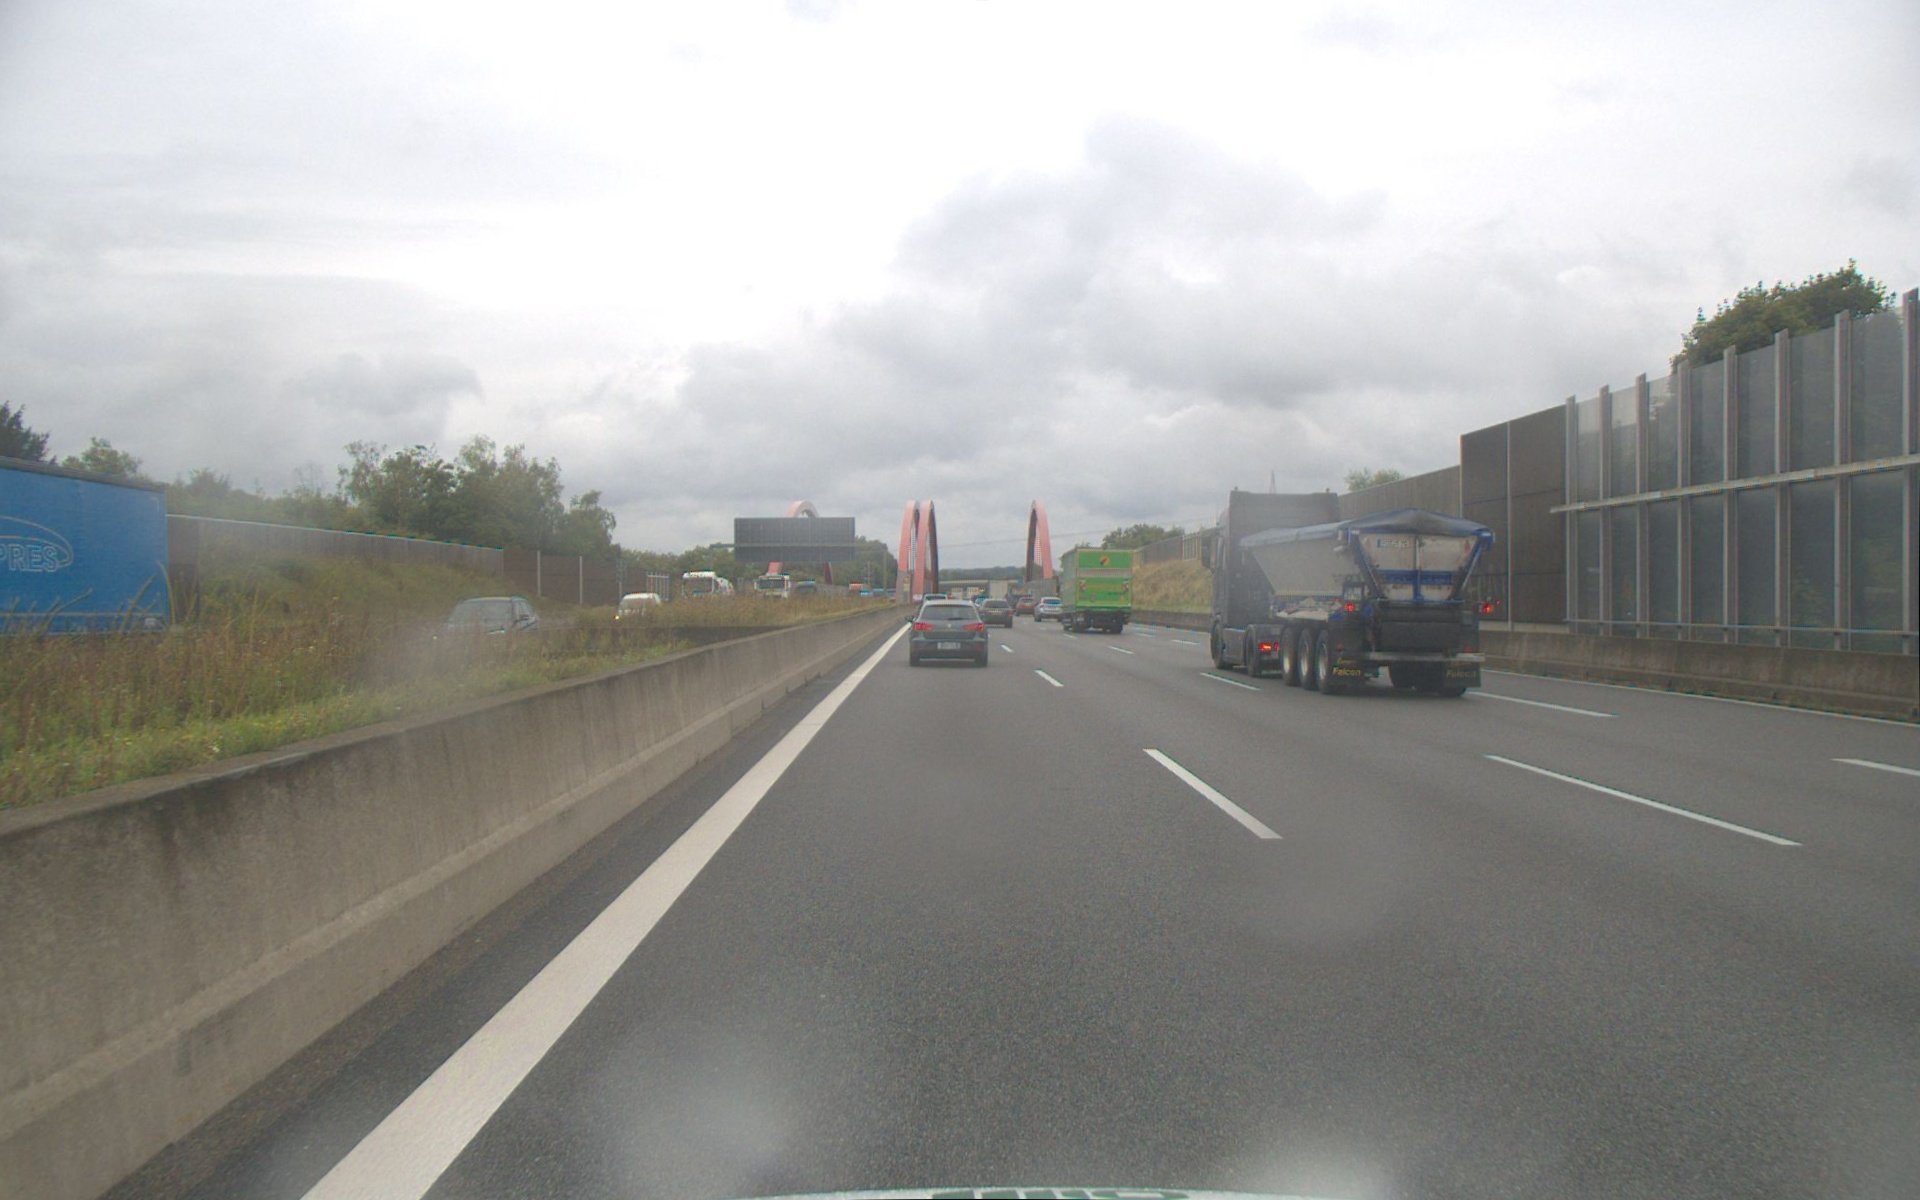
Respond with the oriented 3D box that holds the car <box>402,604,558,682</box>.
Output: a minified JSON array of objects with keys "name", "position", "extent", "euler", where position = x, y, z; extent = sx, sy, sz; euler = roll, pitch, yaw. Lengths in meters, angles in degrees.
[{"name":"car","position":[-10.394,0.885,36.204],"extent":[1.952,1.545,4.819],"euler":[0,0,0]}]

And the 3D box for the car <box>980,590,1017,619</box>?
[{"name":"car","position":[1.945,0.196,84.997],"extent":[1.745,1.431,3.625],"euler":[1,0,-1]}]

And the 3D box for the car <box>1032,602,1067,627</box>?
[{"name":"car","position":[6.089,0.978,112.785],"extent":[1.953,1.647,5.327],"euler":[1,0,-1]}]

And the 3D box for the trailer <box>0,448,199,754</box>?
[{"name":"trailer","position":[-17.212,-0.020,27.636],"extent":[3.152,4.970,13.520],"euler":[1,0,-3]}]

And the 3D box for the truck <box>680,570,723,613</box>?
[{"name":"truck","position":[-19.196,-0.636,122.947],"extent":[2.569,3.072,5.609],"euler":[1,0,-3]}]

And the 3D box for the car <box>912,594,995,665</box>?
[{"name":"car","position":[-0.131,0.619,36.813],"extent":[1.727,1.478,4.000],"euler":[1,0,0]}]

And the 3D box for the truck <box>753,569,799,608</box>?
[{"name":"truck","position":[-15.426,-0.931,138.866],"extent":[2.896,3.120,8.726],"euler":[1,0,-1]}]

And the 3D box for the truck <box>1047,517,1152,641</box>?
[{"name":"truck","position":[6.473,-0.928,78.764],"extent":[3.916,5.358,11.219],"euler":[1,0,0]}]

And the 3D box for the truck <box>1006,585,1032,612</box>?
[{"name":"truck","position":[5.677,-0.170,159.515],"extent":[2.313,2.550,6.143],"euler":[1,0,0]}]

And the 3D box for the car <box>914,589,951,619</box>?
[{"name":"car","position":[-1.518,0.209,90.271],"extent":[1.953,1.612,3.999],"euler":[0,0,-1]}]

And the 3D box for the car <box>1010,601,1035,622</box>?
[{"name":"car","position":[5.389,0.991,143.695],"extent":[1.917,1.676,3.999],"euler":[1,0,-1]}]

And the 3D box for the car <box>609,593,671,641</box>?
[{"name":"car","position":[-14.112,0.733,73.130],"extent":[1.953,2.049,4.197],"euler":[1,0,-1]}]

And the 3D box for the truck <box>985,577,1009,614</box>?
[{"name":"truck","position":[4.948,-0.623,221.512],"extent":[2.982,4.817,7.679],"euler":[1,0,0]}]

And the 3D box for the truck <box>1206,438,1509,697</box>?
[{"name":"truck","position":[7.148,-0.512,32.169],"extent":[2.755,4.019,12.712],"euler":[0,0,0]}]
